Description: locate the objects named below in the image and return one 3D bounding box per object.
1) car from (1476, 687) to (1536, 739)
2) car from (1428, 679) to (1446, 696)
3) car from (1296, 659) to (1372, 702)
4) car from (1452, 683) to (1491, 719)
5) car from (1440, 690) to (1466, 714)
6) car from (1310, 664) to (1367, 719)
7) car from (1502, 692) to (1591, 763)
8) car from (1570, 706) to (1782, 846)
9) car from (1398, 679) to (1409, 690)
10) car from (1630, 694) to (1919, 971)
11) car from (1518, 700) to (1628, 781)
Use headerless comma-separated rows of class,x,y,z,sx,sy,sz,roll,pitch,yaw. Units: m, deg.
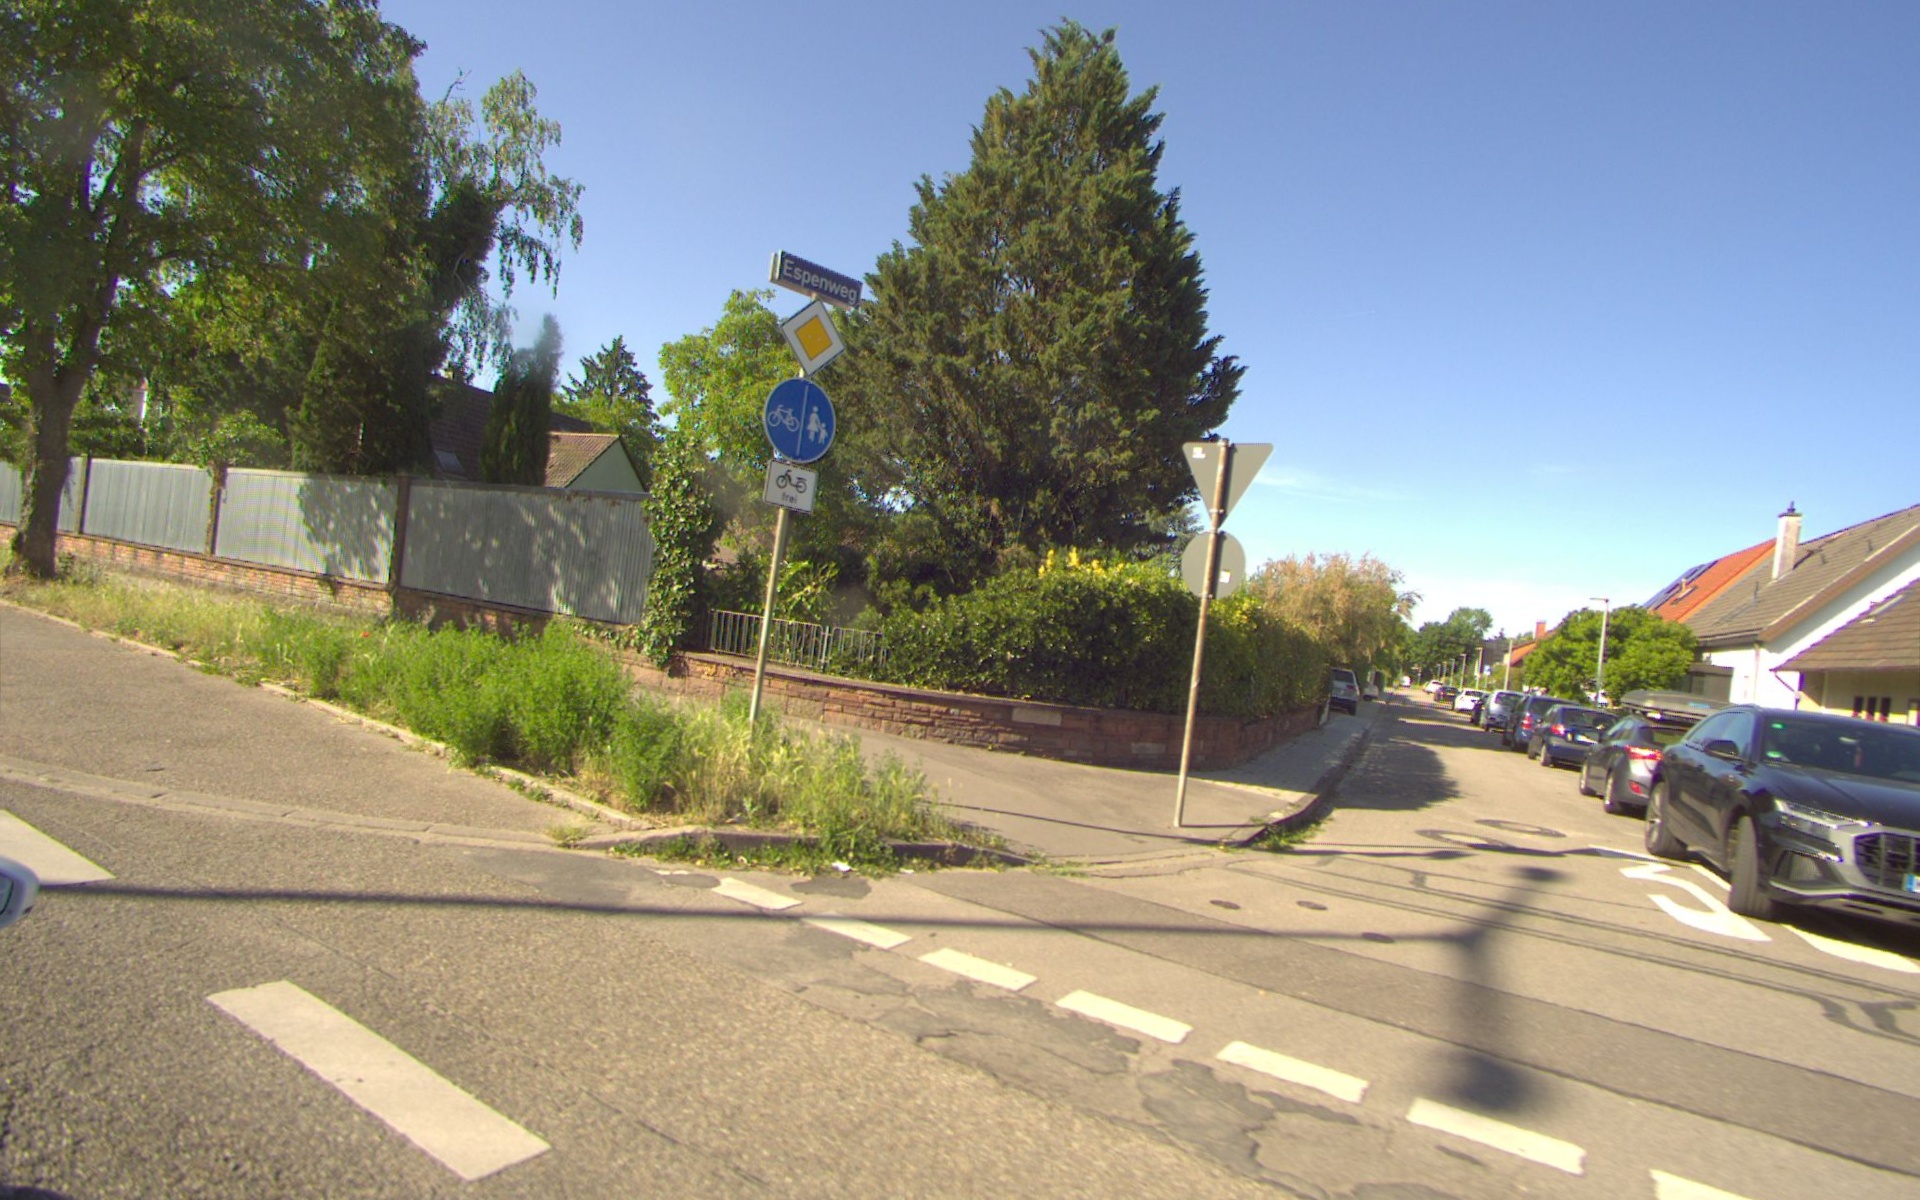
car,21.504,4.401,39.697,1.655,1.690,3.609,8,-1,25
car,54.531,10.023,115.047,1.655,1.690,3.609,8,-1,25
car,19.644,4.204,52.832,3.459,1.690,1.578,8,0,25
car,28.940,5.697,56.998,1.655,1.690,3.609,8,-1,25
car,40.080,8.284,81.872,1.655,1.690,3.609,8,-1,25
car,14.477,3.473,38.390,1.600,1.784,3.609,8,-1,25
car,16.378,3.517,28.241,1.655,1.575,3.609,8,-1,25
car,10.592,2.515,15.196,1.756,1.455,3.932,8,-1,25
car,78.983,14.987,179.132,1.655,1.690,3.609,8,-1,25
car,7.651,1.848,8.851,2.034,1.676,4.756,8,-1,25
car,14.425,3.242,23.845,1.655,1.455,3.609,8,-1,25
